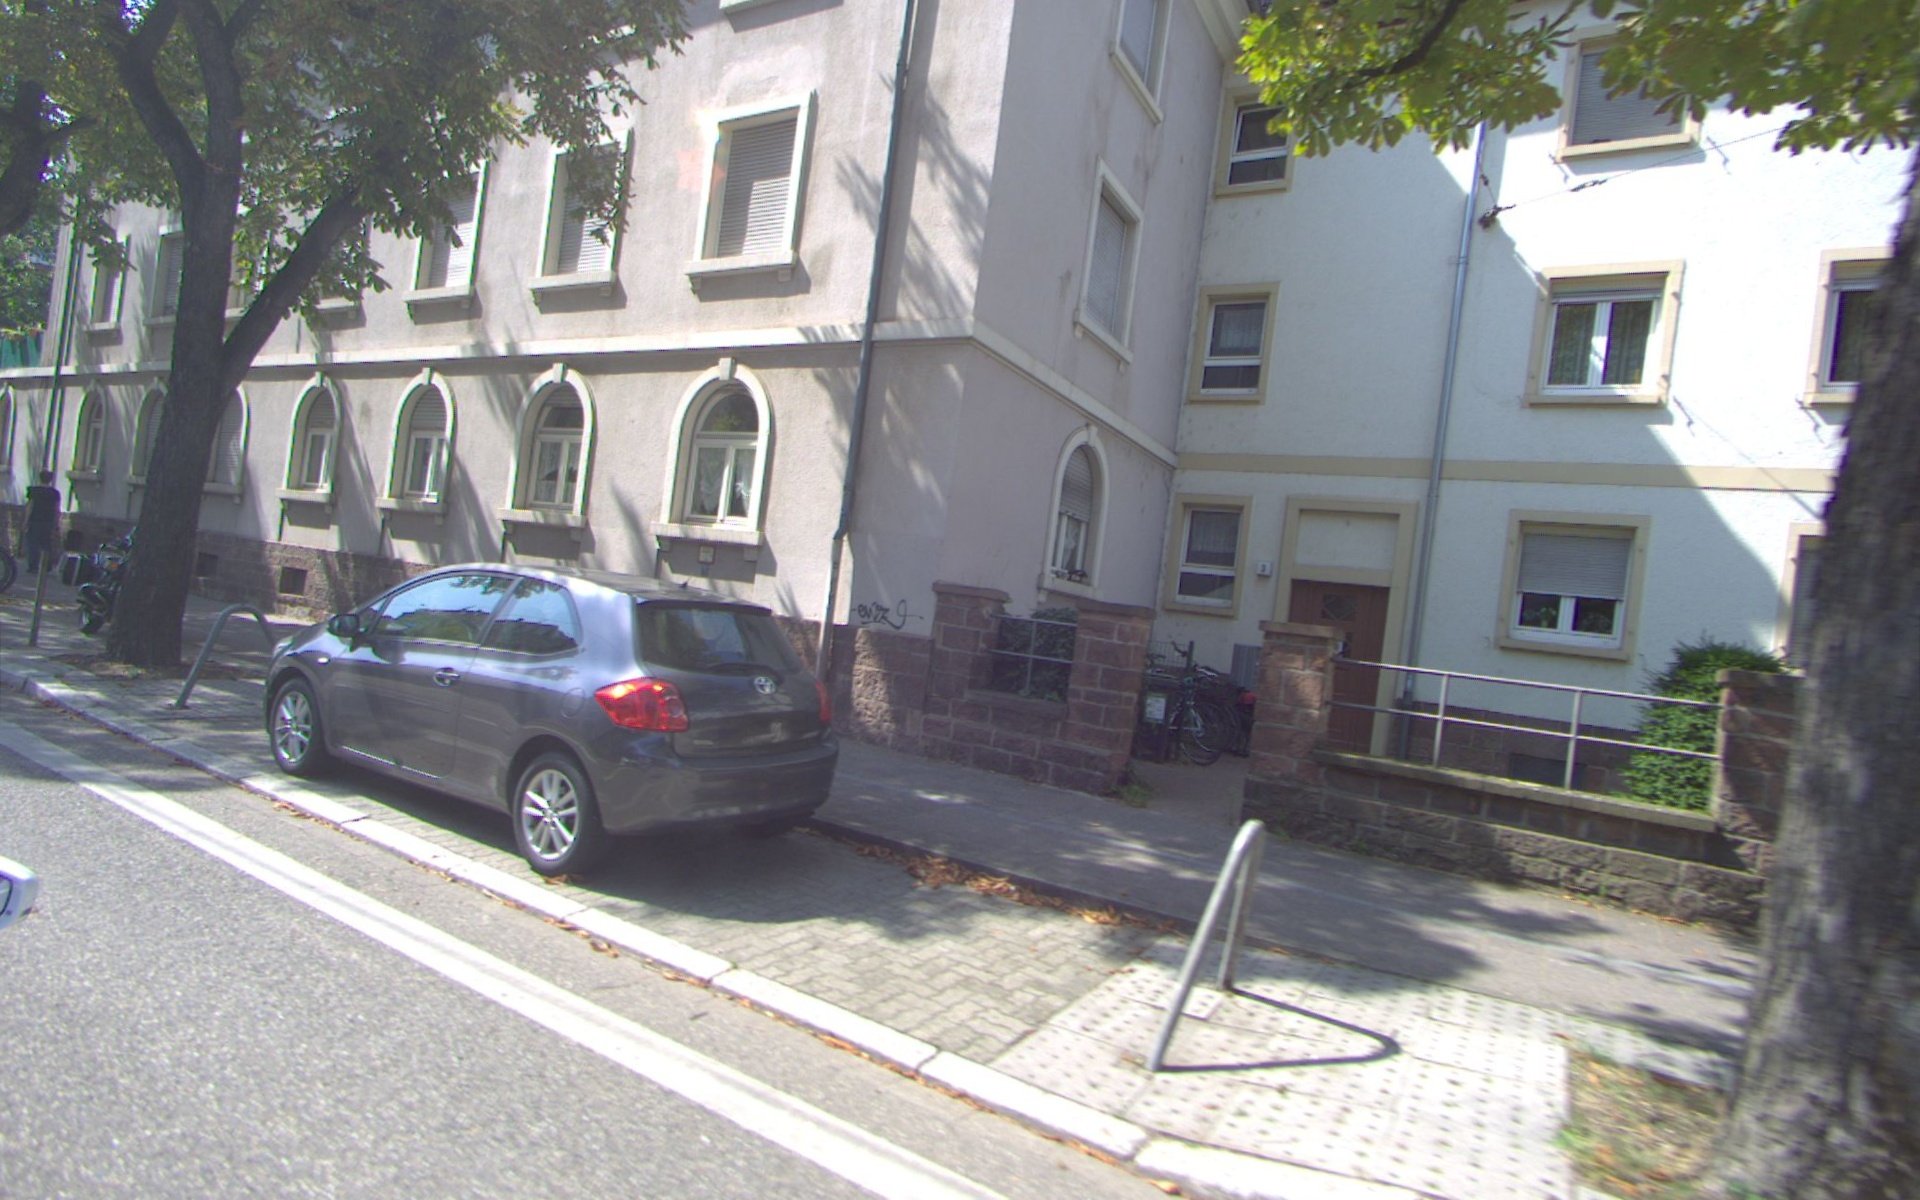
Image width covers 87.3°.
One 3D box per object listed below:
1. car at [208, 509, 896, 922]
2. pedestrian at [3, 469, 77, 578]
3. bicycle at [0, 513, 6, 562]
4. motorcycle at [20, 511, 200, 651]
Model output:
[{"bbox_3d":[-2.668,0.500,6.350,4.045,1.551,1.843,8,0,31],"label":"car"},{"bbox_3d":[-17.214,-1.428,18.830,0.702,1.914,0.707,6,0,33],"label":"pedestrian"},{"bbox_3d":[-13.797,-0.700,13.207,0.371,1.163,1.723,7,-1,37],"label":"bicycle"},{"bbox_3d":[-9.293,-0.222,10.975,2.140,1.270,0.712,7,-1,30],"label":"motorcycle"}]
